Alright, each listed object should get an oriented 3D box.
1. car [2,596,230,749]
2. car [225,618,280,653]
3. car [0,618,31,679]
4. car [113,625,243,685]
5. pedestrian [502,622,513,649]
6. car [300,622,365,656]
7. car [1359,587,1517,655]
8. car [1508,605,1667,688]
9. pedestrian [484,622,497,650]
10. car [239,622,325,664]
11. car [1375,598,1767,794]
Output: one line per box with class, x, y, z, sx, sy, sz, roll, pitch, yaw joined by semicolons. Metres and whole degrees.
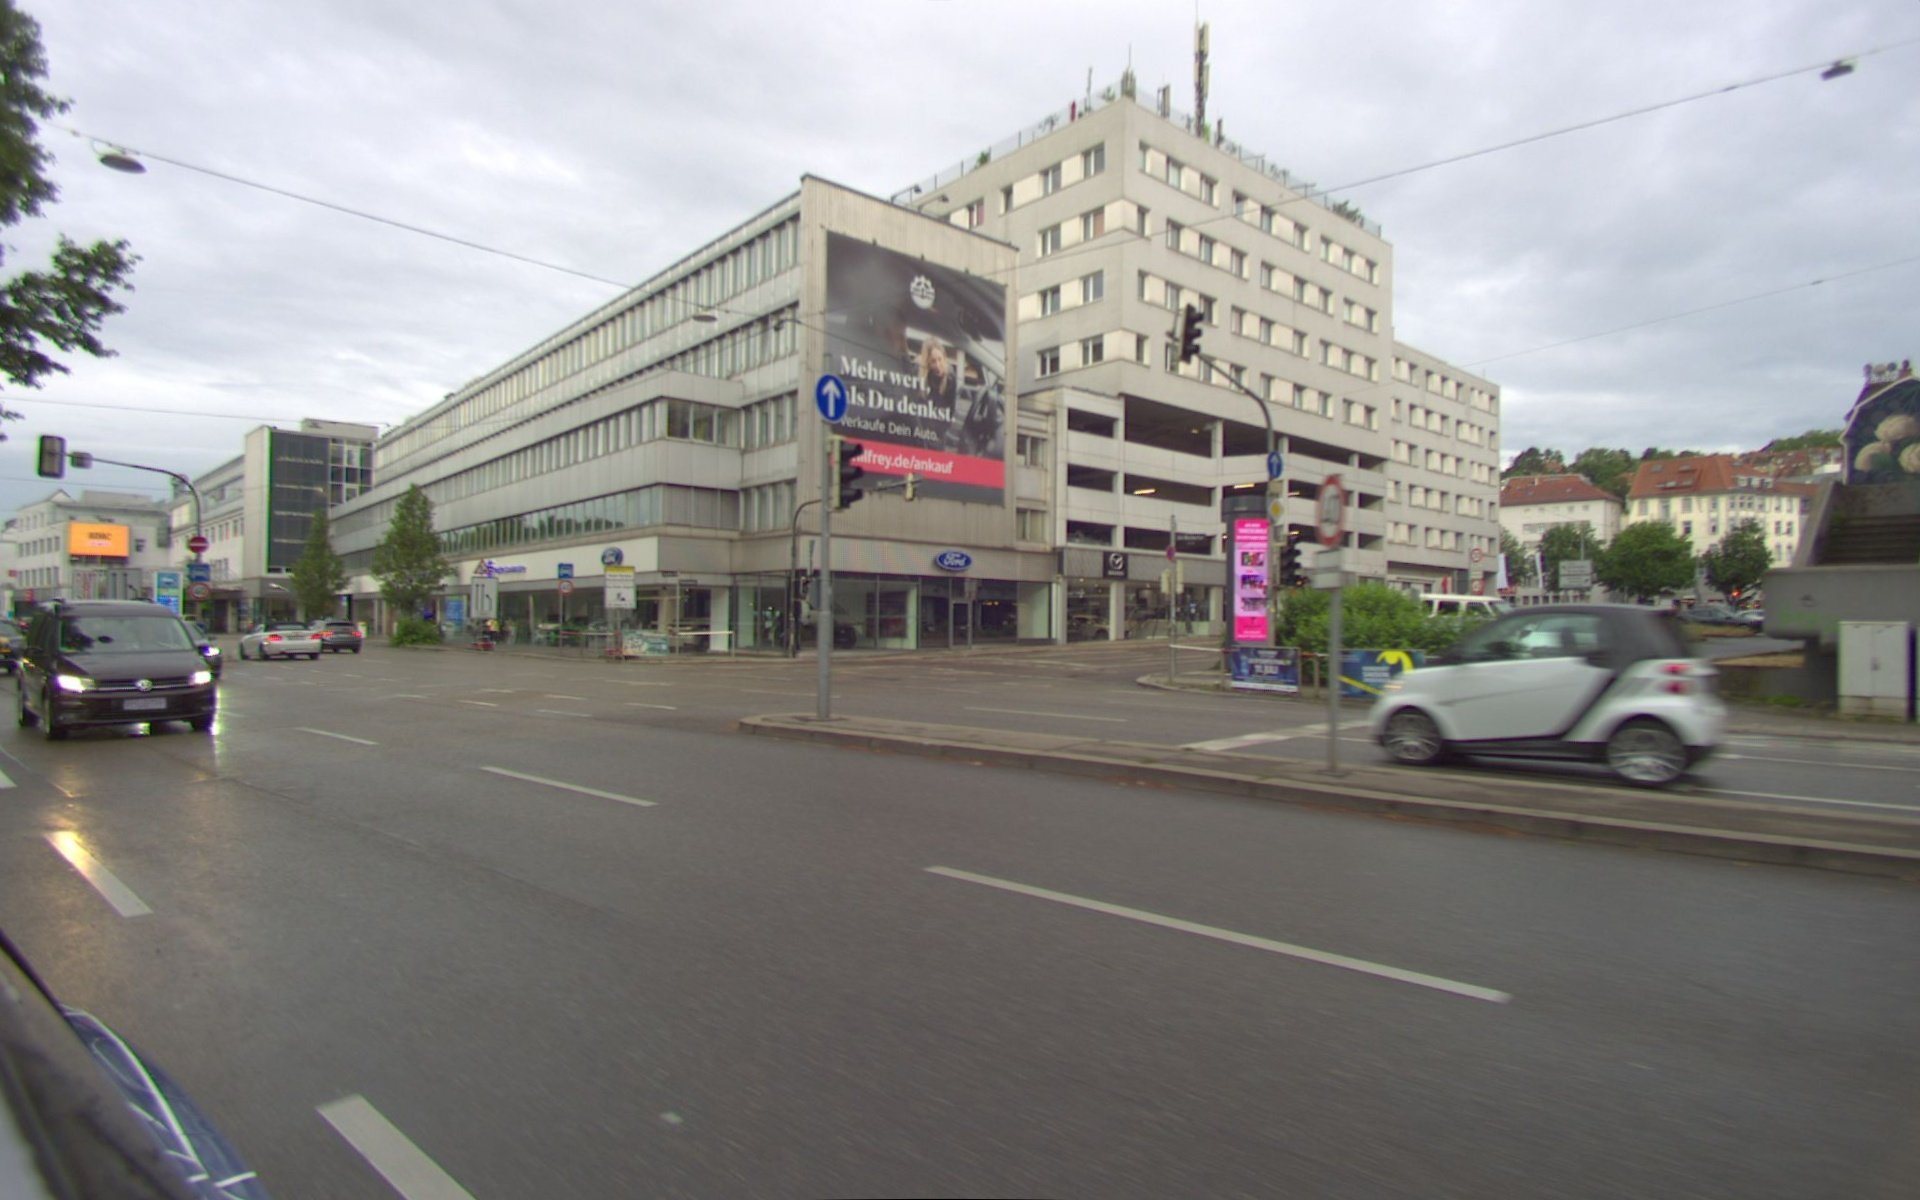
car;-11.696;0.912;13.941;3.998;1.804;1.818;-2;-1;41
car;-34.404;1.711;49.160;1.661;1.654;4.004;1;-2;-43
car;-27.215;1.338;28.056;3.998;1.625;1.709;-2;-2;41
car;-20.361;1.447;26.285;4.533;1.426;1.649;-3;-3;38
pedestrian;-25.627;2.008;57.312;0.431;1.542;0.514;1;-2;-43
car;-28.311;1.716;45.603;1.661;1.450;4.003;1;-2;-44
car;15.223;0.685;32.363;4.137;2.029;1.971;-2;-2;44
car;13.739;0.944;22.078;4.241;1.637;1.937;0;-2;-44
pedestrian;-26.358;2.018;56.777;0.567;1.542;0.454;1;-2;-43
car;-24.821;1.536;37.006;3.998;1.450;1.663;-2;-2;41
car;5.484;0.766;9.233;2.772;1.489;1.504;-2;-2;45
